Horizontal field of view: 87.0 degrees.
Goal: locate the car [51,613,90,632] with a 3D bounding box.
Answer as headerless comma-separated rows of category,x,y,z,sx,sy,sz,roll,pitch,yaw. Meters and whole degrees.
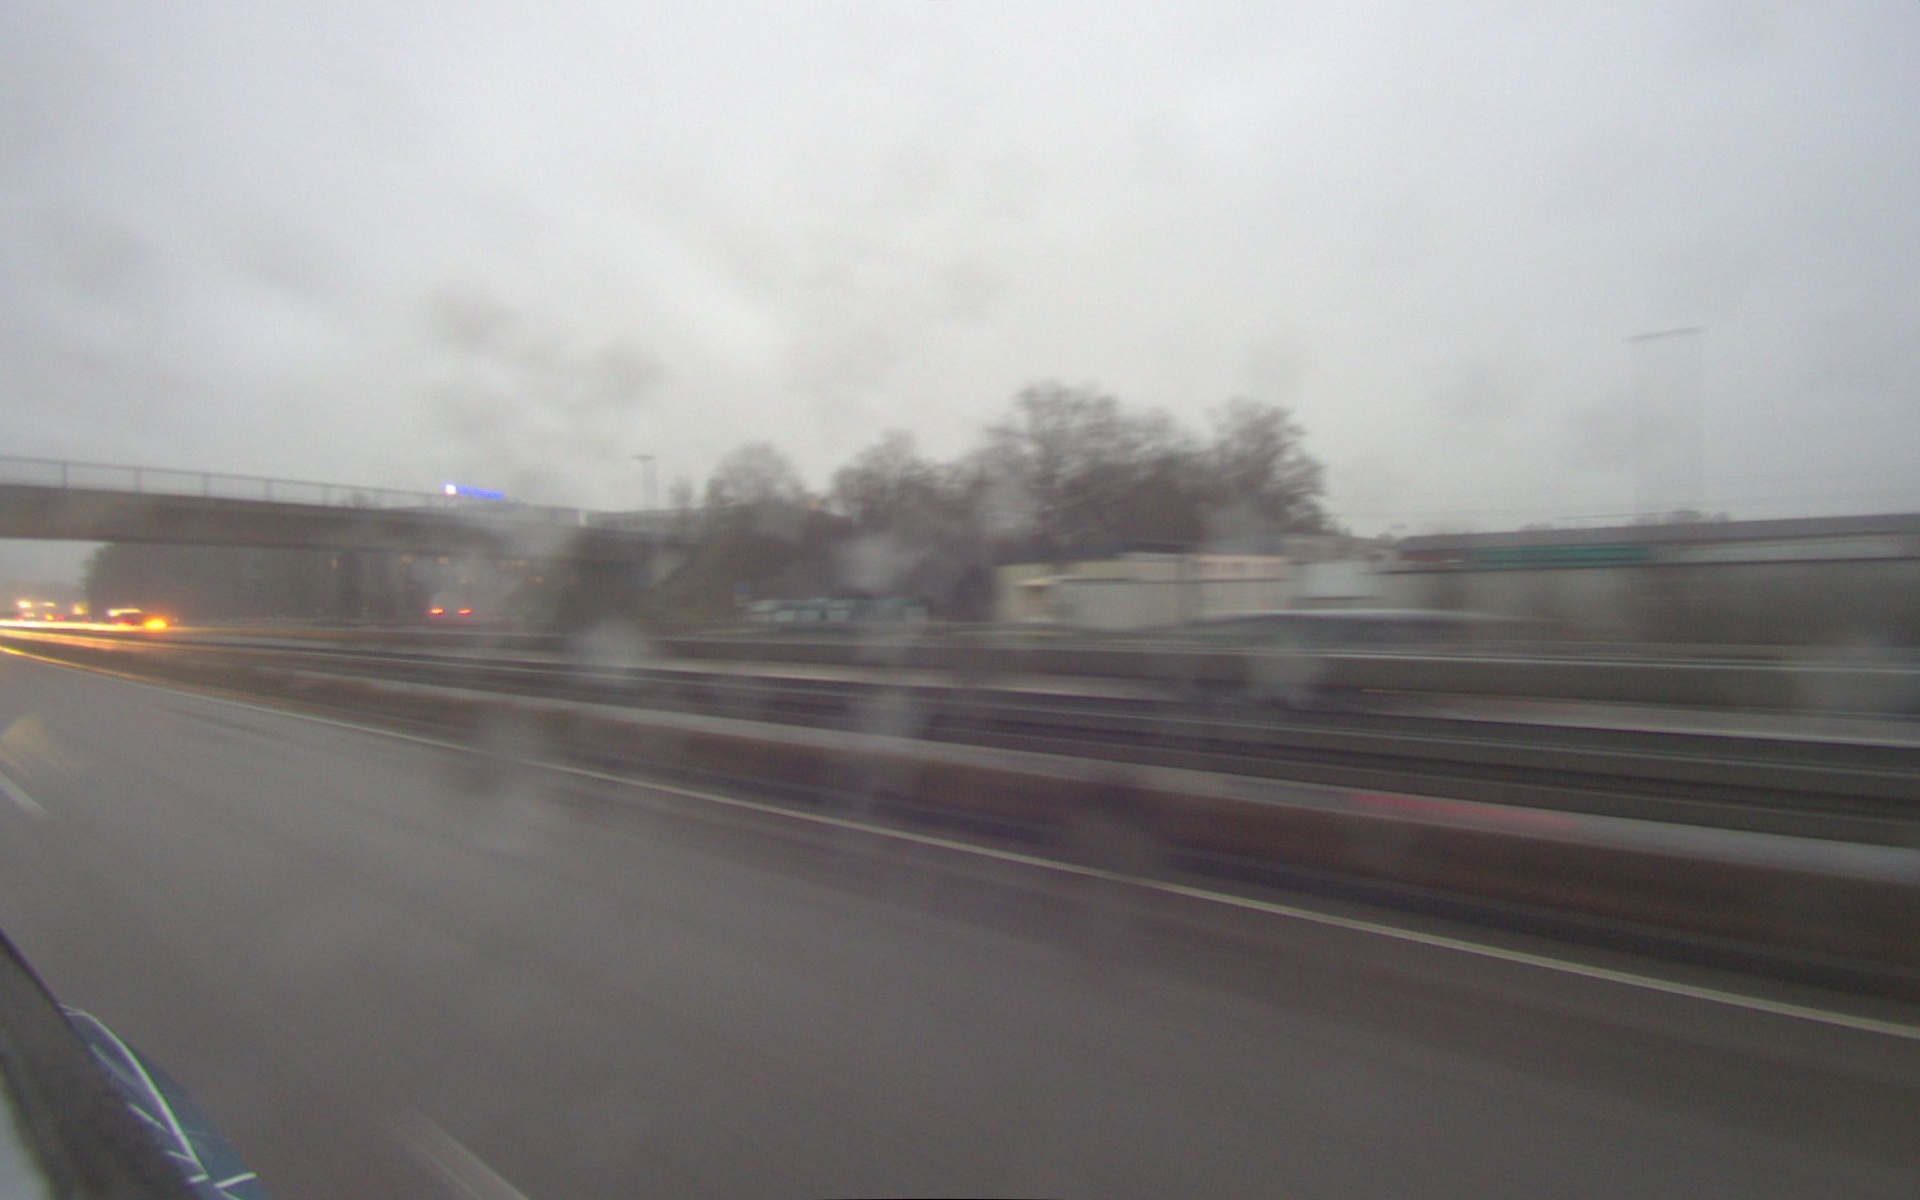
car,-76.212,1.887,86.685,3.998,1.584,1.973,-1,0,41

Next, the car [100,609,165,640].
car,-43.601,1.269,53.309,3.998,1.584,1.973,-1,0,41

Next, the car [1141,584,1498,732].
car,4.527,0.650,13.077,3.998,1.603,1.706,-1,1,41
